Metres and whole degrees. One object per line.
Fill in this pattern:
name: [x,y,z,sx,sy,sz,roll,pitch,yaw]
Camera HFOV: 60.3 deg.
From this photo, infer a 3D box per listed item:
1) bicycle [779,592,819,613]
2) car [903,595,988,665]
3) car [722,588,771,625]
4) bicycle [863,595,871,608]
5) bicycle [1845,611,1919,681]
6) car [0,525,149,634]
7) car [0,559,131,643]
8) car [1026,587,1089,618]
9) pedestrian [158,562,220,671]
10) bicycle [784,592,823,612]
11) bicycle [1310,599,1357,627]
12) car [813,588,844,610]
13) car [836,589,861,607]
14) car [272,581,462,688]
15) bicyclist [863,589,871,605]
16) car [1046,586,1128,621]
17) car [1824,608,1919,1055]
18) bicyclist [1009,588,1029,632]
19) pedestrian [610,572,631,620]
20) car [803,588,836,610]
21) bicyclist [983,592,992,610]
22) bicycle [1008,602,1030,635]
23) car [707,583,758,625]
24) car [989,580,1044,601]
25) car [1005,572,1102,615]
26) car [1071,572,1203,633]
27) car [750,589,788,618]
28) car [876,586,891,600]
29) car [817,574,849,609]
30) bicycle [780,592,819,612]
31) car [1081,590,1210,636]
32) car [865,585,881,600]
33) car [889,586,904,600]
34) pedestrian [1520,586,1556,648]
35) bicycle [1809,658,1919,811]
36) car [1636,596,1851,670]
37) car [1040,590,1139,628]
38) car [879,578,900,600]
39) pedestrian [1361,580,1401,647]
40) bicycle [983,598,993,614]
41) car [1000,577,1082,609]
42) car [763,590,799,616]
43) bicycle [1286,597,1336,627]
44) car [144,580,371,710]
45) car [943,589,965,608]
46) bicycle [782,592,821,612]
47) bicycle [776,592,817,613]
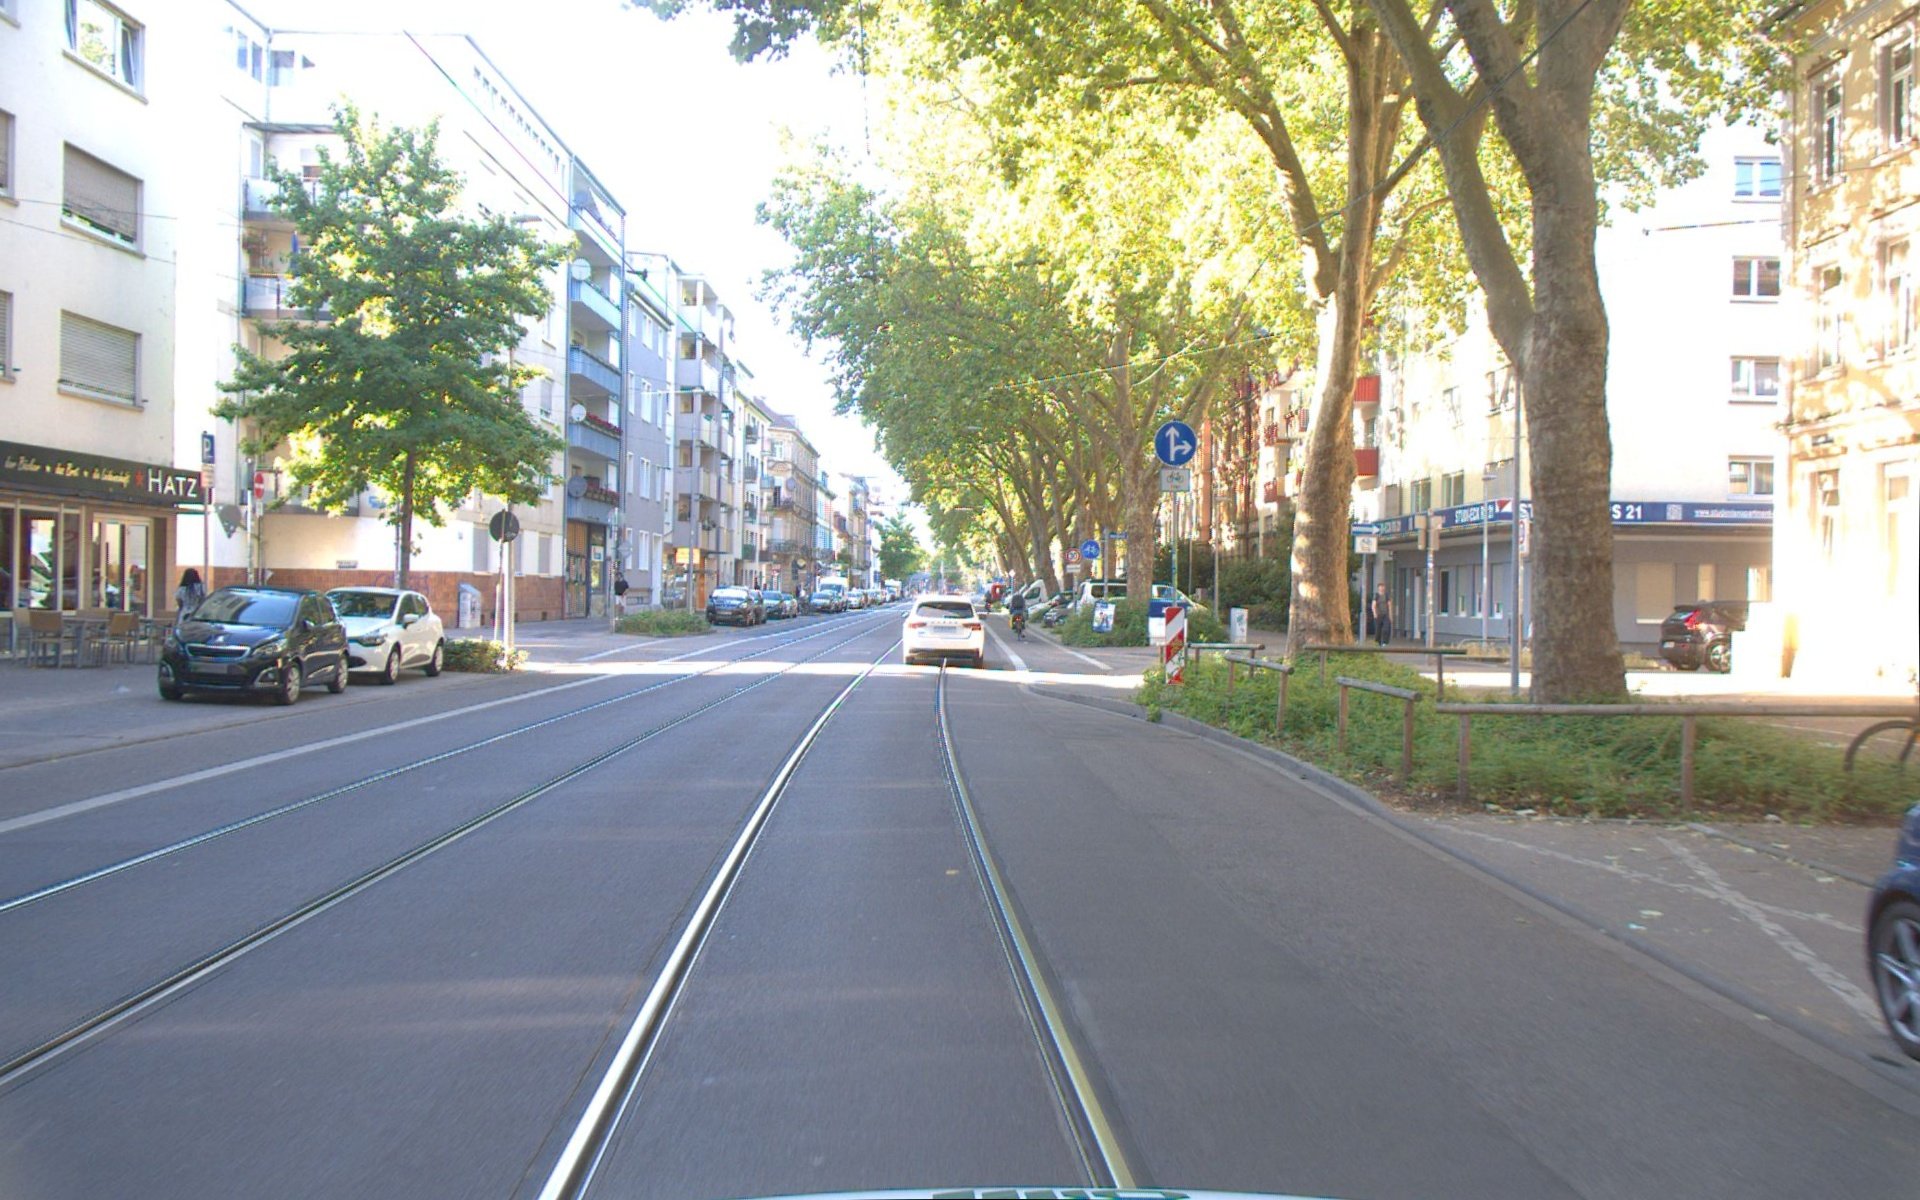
bicycle: [-10.257,0.149,105.086,2.476,1.193,0.718,3,-1,-7]
car: [-0.347,0.612,35.685,1.726,1.408,3.999,0,0,-2]
car: [-9.823,0.257,76.416,1.667,1.571,4.241,3,0,0]
bicycle: [-7.490,0.121,133.072,0.593,1.089,1.582,0,0,-3]
bicycle: [15.930,0.764,28.253,0.570,1.123,1.922,-1,0,-1]
car: [-24.883,-0.547,43.795,5.690,2.771,2.170,1,0,-2]
car: [-22.054,0.003,38.153,4.779,1.854,2.037,1,0,-5]
car: [5.536,0.119,94.215,3.559,1.695,1.822,1,0,2]
pedestrian: [-12.376,0.260,26.565,0.650,1.720,0.748,1,0,-2]
bicycle: [-10.305,0.132,108.864,2.476,1.193,0.718,3,-1,-7]
bicycle: [15.121,0.524,66.940,1.756,1.060,0.617,-1,0,-5]
car: [-9.699,-0.072,122.020,1.953,1.557,4.000,1,0,0]
car: [-9.946,-0.211,148.290,1.953,1.557,4.000,1,0,0]
car: [-9.506,0.510,26.881,1.680,1.489,4.373,4,0,-4]
bicyclist: [-7.490,-0.217,133.109,0.585,1.308,0.916,0,0,-3]
car: [6.252,0.158,81.607,3.906,1.709,1.723,0,0,-1]
car: [4.052,0.786,4.881,1.531,1.545,2.911,-1,-1,2]
bicyclist: [1.974,0.341,55.514,0.664,1.468,1.047,0,0,0]
pedestrian: [-13.511,-0.164,65.860,0.650,1.858,0.965,1,0,-2]
car: [-9.836,-0.085,116.238,1.953,1.557,4.000,1,0,0]
bicyclist: [2.018,0.071,120.340,0.636,1.367,0.934,0,0,-2]
bicycle: [1.971,0.606,55.420,0.667,1.089,1.781,0,0,0]
car: [-9.776,0.165,71.252,1.668,1.679,4.240,3,0,-2]
car: [6.327,-1.041,185.321,6.007,2.322,2.528,1,0,-2]
car: [6.002,-0.402,106.470,6.007,2.681,2.528,1,0,-2]
car: [6.329,0.096,59.481,4.453,2.113,2.000,0,0,-3]
car: [-10.009,0.152,86.858,1.620,1.462,3.835,1,0,-2]
car: [-11.250,-1.001,243.688,1.953,2.049,4.000,2,0,0]
car: [-9.809,-0.647,127.962,2.134,2.642,4.948,1,0,0]
bicycle: [-10.274,0.144,105.973,2.476,1.193,0.718,3,-1,-5]
car: [6.348,0.438,56.903,4.210,1.505,1.830,0,0,-1]
car: [-12.083,-1.013,229.385,1.953,2.049,4.000,1,0,0]
car: [-8.950,-0.977,231.879,1.953,2.049,4.000,1,0,0]
pedestrian: [15.691,0.451,44.935,0.731,1.673,0.666,1,0,1]
bicycle: [6.939,0.913,11.360,1.924,1.023,0.511,-2,-1,26]
car: [18.037,0.738,38.192,4.050,1.621,1.998,1,0,-5]
car: [5.512,0.367,70.688,4.059,1.540,1.931,0,0,-1]
car: [-10.650,-1.647,250.847,2.907,3.211,5.846,2,0,0]
pedestrian: [11.992,0.378,47.145,0.751,1.899,1.188,0,0,-4]
bicycle: [2.022,0.429,120.332,0.636,1.089,1.582,0,0,-2]
car: [6.069,-0.555,125.090,6.007,2.322,2.528,1,0,-2]
car: [-9.929,0.157,92.052,1.454,1.428,3.991,1,0,2]
bicycle: [14.225,0.485,67.001,1.908,1.177,0.571,-1,0,-8]
car: [-9.296,0.544,22.224,1.681,1.489,3.994,4,0,-7]
car: [-0.489,-0.138,137.238,1.725,1.501,4.000,0,0,0]
bicycle: [-10.308,0.130,107.810,2.476,1.193,0.718,3,-1,-5]
bicycle: [-10.315,0.148,104.204,2.509,1.193,0.870,4,-2,-40]
